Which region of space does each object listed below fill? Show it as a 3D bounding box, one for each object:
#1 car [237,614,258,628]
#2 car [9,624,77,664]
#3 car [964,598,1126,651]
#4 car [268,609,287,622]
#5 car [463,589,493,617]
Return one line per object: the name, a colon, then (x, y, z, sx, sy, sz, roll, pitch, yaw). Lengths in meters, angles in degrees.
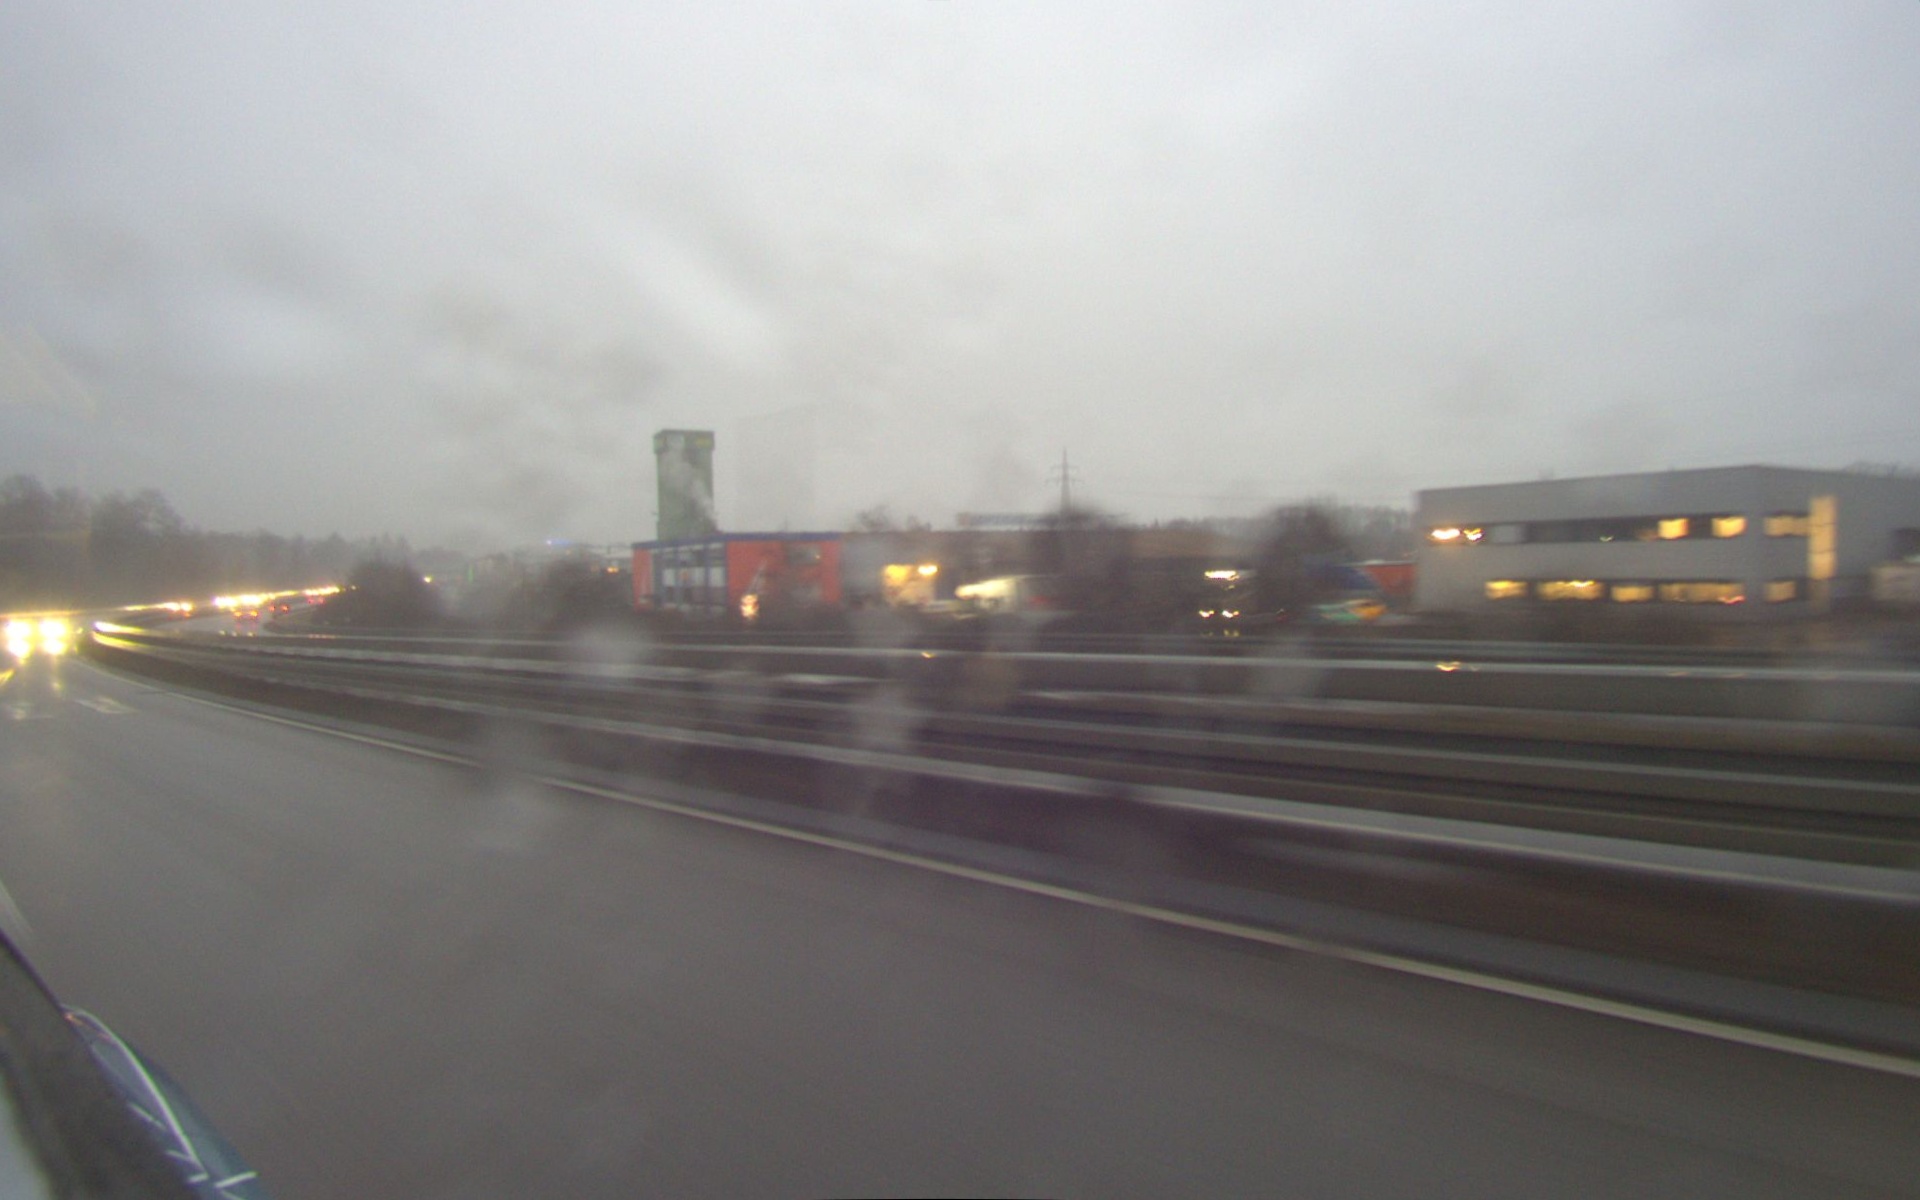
car: (-72.267, 2.130, 102.694, 1.649, 1.431, 4.092, 0, -1, -33)
car: (-53.888, 2.537, 59.560, 1.966, 2.028, 4.013, -3, 2, -28)
car: (3.379, 0.975, 41.133, 6.477, 2.029, 1.976, -1, -1, 35)
car: (-92.216, 2.102, 136.700, 1.967, 1.685, 4.439, 0, -1, -36)
car: (-59.081, 0.375, 124.138, 3.147, 3.235, 9.972, 1, -1, -25)
